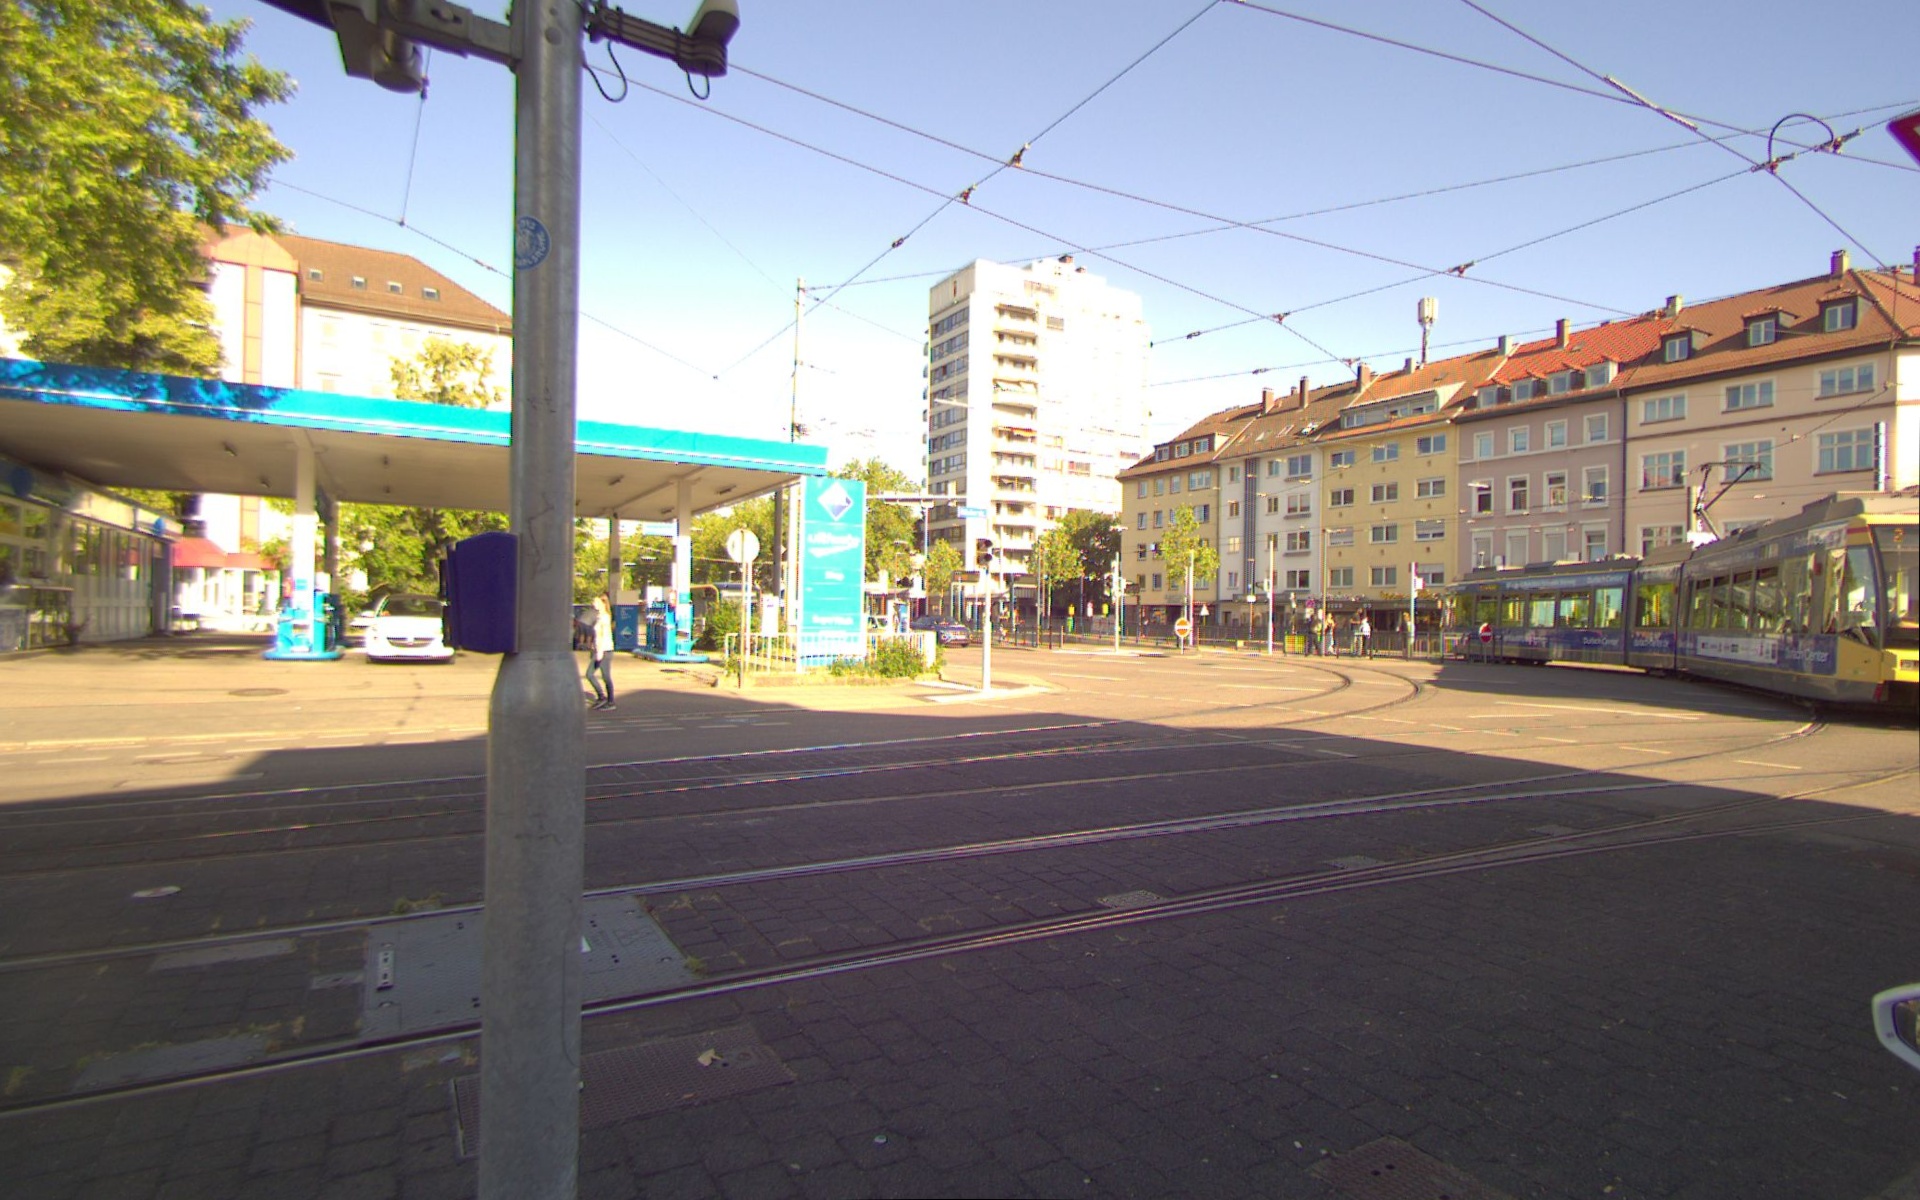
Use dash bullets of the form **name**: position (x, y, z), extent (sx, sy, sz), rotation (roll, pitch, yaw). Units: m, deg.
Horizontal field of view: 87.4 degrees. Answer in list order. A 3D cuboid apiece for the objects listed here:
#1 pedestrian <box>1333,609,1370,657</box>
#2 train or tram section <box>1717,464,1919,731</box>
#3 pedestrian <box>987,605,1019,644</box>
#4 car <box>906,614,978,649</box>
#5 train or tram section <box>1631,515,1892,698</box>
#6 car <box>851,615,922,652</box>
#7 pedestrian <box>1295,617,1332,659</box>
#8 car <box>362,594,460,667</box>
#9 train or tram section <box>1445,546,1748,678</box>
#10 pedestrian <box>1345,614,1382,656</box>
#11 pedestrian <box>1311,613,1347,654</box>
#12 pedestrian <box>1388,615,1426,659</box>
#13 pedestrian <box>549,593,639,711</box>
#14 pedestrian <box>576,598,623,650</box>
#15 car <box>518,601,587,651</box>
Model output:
- **pedestrian**: position (14.873, 1.237, 38.156), extent (1.002, 1.798, 0.930), rotation (2, -1, -42)
- **train or tram section**: position (15.081, 0.043, 16.604), extent (2.772, 3.546, 7.952), rotation (0, -1, 27)
- **pedestrian**: position (2.114, 1.187, 49.347), extent (1.156, 1.870, 1.098), rotation (2, -1, -28)
- **car**: position (-0.934, 1.492, 48.269), extent (1.863, 1.601, 3.971), rotation (1, -1, -28)
- **train or tram section**: position (18.506, 0.202, 23.911), extent (2.770, 3.546, 8.457), rotation (0, -1, 24)
- **car**: position (-3.464, 1.530, 46.740), extent (1.863, 1.601, 3.971), rotation (1, -1, -28)
- **pedestrian**: position (13.871, 1.482, 39.397), extent (0.994, 1.619, 0.937), rotation (1, 0, -18)
- **car**: position (-12.324, 0.660, 22.538), extent (1.760, 1.483, 3.968), rotation (1, -1, -30)
- **train or tram section**: position (20.176, 0.408, 33.268), extent (2.724, 3.546, 12.033), rotation (1, -1, 2)
- **pedestrian**: position (15.760, 1.355, 39.257), extent (0.925, 1.619, 1.007), rotation (1, -1, -13)
- **pedestrian**: position (14.608, 1.318, 39.763), extent (0.996, 1.619, 0.935), rotation (1, -1, -27)
- **pedestrian**: position (16.622, 1.372, 37.365), extent (0.924, 1.619, 1.008), rotation (1, -1, -8)
- **pedestrian**: position (-5.298, 0.746, 14.542), extent (1.094, 1.640, 0.709), rotation (1, -3, -33)
- **pedestrian**: position (-11.480, 0.766, 32.002), extent (1.140, 1.647, 0.813), rotation (0, -1, 8)
- **car**: position (-13.436, 0.841, 33.017), extent (1.725, 1.431, 4.061), rotation (5, -2, -26)
